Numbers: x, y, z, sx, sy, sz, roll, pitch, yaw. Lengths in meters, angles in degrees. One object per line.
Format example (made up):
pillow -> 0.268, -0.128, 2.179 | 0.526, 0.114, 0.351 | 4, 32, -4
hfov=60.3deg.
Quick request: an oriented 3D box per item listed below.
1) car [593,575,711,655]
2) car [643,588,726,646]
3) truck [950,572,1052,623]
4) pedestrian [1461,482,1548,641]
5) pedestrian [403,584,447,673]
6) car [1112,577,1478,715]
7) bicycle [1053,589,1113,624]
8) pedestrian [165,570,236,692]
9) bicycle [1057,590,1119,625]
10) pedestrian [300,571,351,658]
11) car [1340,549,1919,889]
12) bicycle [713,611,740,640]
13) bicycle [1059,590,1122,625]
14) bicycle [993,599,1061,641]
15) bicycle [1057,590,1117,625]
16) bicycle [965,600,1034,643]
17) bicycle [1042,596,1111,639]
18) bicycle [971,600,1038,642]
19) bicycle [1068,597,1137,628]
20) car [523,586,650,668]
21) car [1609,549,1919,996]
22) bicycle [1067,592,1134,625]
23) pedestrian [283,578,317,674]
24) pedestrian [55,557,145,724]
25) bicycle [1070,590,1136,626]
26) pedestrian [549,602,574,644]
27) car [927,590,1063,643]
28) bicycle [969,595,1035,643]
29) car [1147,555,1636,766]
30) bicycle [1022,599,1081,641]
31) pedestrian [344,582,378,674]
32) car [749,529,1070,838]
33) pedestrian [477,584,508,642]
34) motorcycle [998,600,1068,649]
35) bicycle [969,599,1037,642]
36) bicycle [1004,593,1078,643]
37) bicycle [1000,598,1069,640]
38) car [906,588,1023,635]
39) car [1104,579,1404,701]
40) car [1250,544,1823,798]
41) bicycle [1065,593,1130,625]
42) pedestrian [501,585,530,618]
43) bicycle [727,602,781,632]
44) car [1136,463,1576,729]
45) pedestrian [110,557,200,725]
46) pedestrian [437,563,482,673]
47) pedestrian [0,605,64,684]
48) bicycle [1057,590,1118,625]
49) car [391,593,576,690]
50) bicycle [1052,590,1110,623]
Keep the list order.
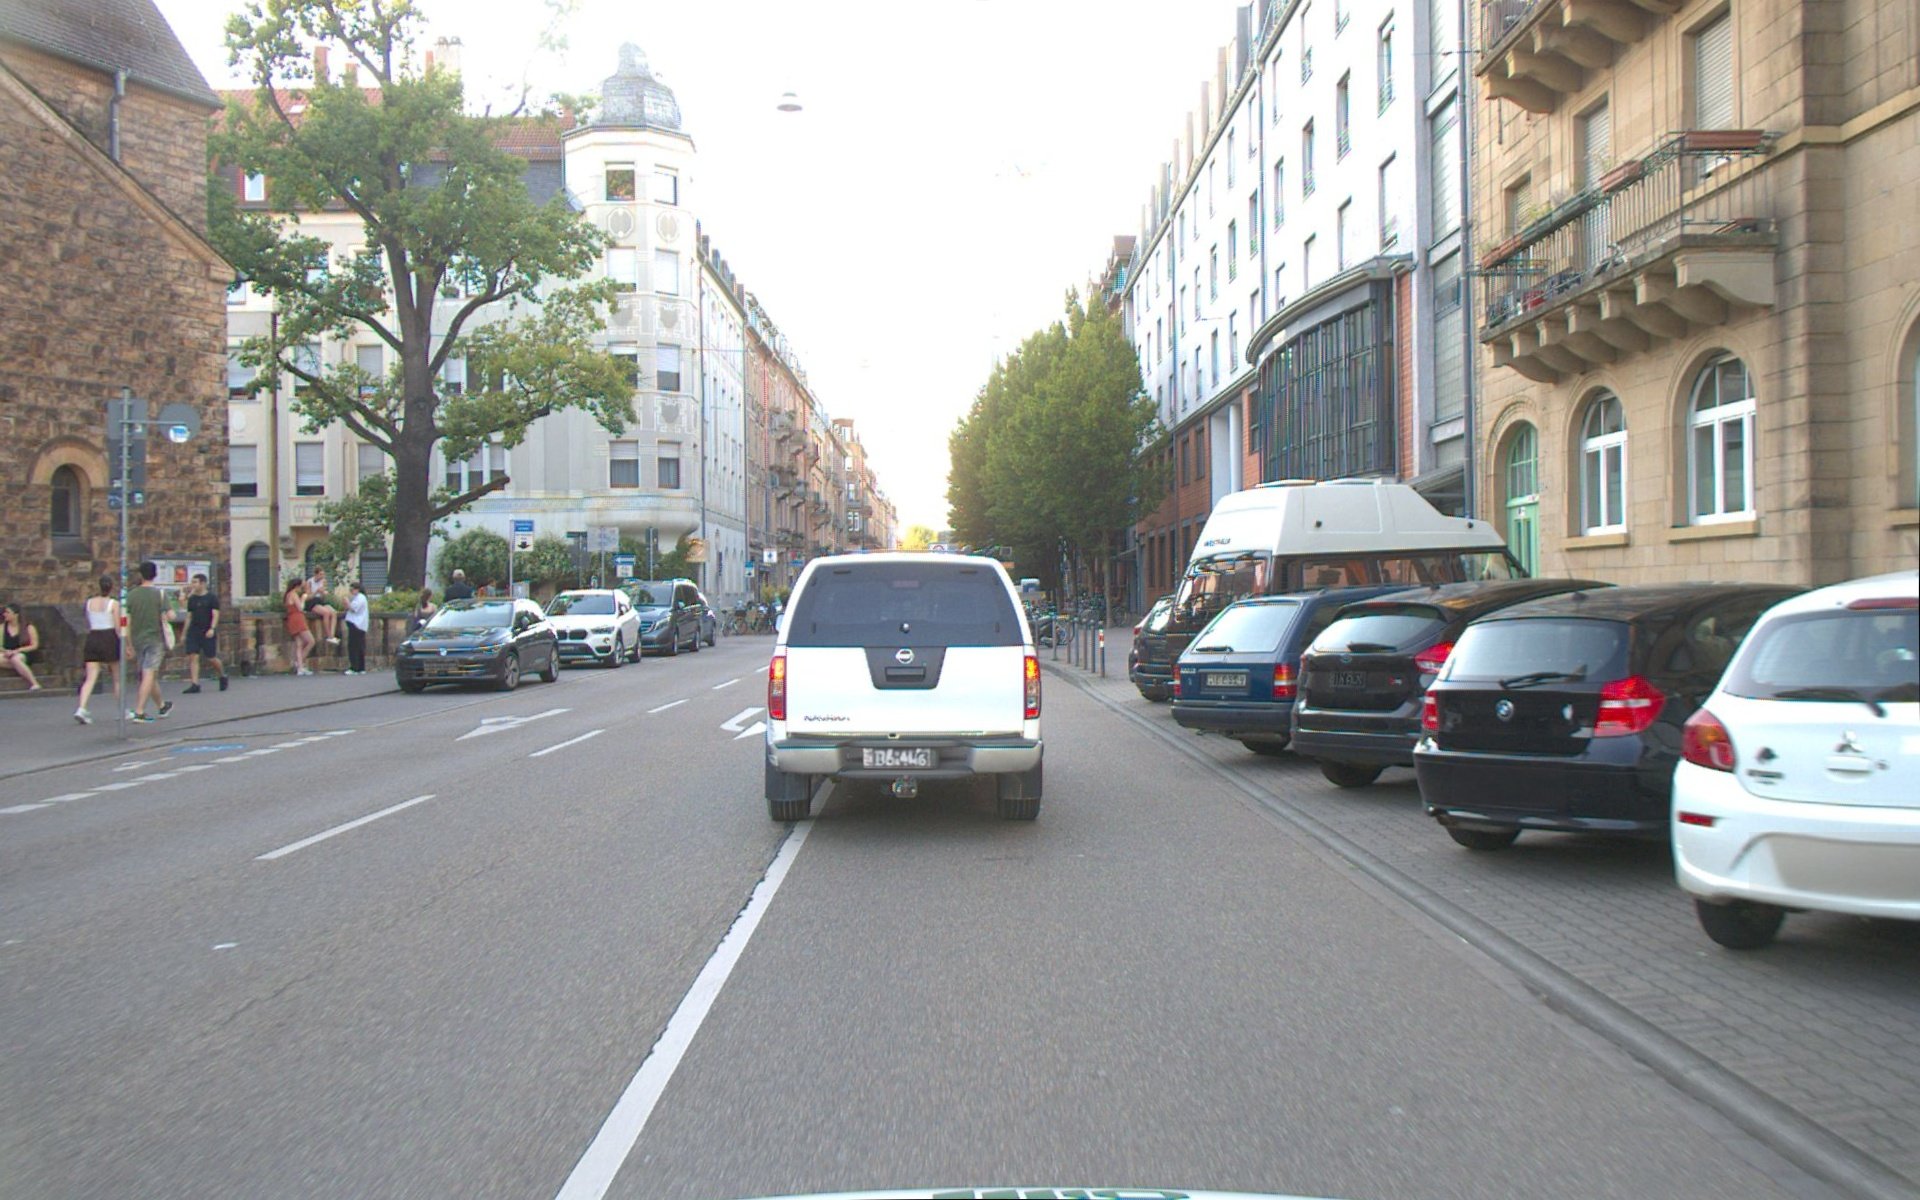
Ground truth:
car -> -7.853, 0.349, 42.647 | 1.952, 1.899, 5.290 | -1, 0, 1
car -> -7.910, 0.453, 47.721 | 1.606, 1.583, 4.005 | -1, 0, 2
truck -> 2.508, -0.126, 101.175 | 6.190, 3.029, 2.264 | 0, -3, 1
pedestrian -> 7.419, -0.525, 22.573 | 0.595, 2.046, 0.858 | 9, 1, 1
pedestrian -> -9.595, 0.508, 29.684 | 0.570, 1.579, 0.839 | 0, 0, -4
car -> 4.207, 0.513, 20.653 | 4.294, 1.529, 1.895 | -1, 0, -29
bicycle -> 5.235, 0.273, 70.458 | 2.482, 1.403, 0.599 | -1, 0, 2
pedestrian -> -11.155, 0.443, 24.321 | 0.699, 1.755, 0.692 | -1, 0, 0
bicycle -> 5.226, 0.301, 67.530 | 2.482, 1.403, 0.599 | -1, 0, 2
pedestrian -> -11.616, 0.265, 30.297 | 0.637, 1.572, 0.585 | 0, 0, 23
car -> 4.284, 0.527, 9.540 | 3.989, 1.456, 1.845 | -4, 0, -35
bicycle -> -8.832, 0.941, 62.491 | 0.414, 1.030, 1.720 | 0, 1, 13
bicycle -> 5.256, 0.301, 66.816 | 2.482, 1.403, 0.599 | -1, 0, 2
bicycle -> 1.928, 0.569, 47.513 | 1.873, 1.084, 0.524 | -3, 0, -2
bicycle -> 5.296, 0.316, 68.979 | 2.482, 1.403, 0.599 | -1, 0, 2
bicycle -> 1.074, 0.579, 44.898 | 1.820, 1.056, 0.471 | -3, 0, -2
bicycle -> 3.258, 0.483, 46.241 | 1.820, 1.084, 0.524 | -3, 0, -2
bicycle -> 1.245, 0.594, 46.715 | 1.820, 1.084, 0.445 | -3, 0, -2
bicycle -> 5.272, 0.463, 61.306 | 2.482, 0.976, 0.680 | -4, 0, 2
car -> -7.931, 0.531, 35.524 | 1.833, 1.619, 4.467 | -1, 0, -2
car -> 4.735, 0.513, 7.080 | 4.014, 1.524, 1.732 | -3, 0, -36
bicycle -> 5.248, 0.329, 61.927 | 2.482, 1.187, 0.562 | -1, 0, 2
pedestrian -> -11.782, 0.455, 29.512 | 0.411, 1.704, 0.540 | 0, 0, -40
pedestrian -> -10.054, 0.459, 19.368 | 0.561, 1.889, 0.988 | -1, 0, -4
bicycle -> 5.198, 0.291, 60.357 | 2.298, 1.118, 0.680 | -4, 0, 2
pedestrian -> -14.440, 0.821, 59.900 | 0.687, 1.495, 0.783 | -1, 0, -2
car -> 1.103, 0.509, 51.645 | 3.945, 1.533, 1.753 | -1, 0, -30
bicycle -> 1.110, 0.502, 43.876 | 1.673, 1.196, 0.471 | -3, 0, -2
car -> 4.018, 0.469, 15.201 | 4.341, 1.512, 1.824 | -4, 1, -31
bicycle -> 2.448, 0.529, 44.437 | 1.509, 1.056, 0.471 | -3, 0, -2
pedestrian -> -10.843, 0.499, 29.954 | 0.411, 1.650, 0.540 | 0, 0, -40
car -> -0.338, 0.518, 12.197 | 1.894, 1.826, 4.620 | 1, 0, -1
pedestrian -> -14.401, 0.404, 50.979 | 0.692, 1.751, 0.836 | -1, 0, -2
motorcycle -> 1.852, 0.612, 42.005 | 1.614, 1.121, 0.646 | -3, 0, -9
bicycle -> 1.193, 0.568, 46.005 | 1.820, 1.084, 0.445 | -3, 0, -2
bicycle -> 2.107, 0.475, 43.237 | 1.821, 1.166, 0.659 | -4, 0, -1
bicycle -> 2.053, 0.528, 45.522 | 1.820, 1.056, 0.402 | -3, 0, -2
car -> 0.180, 0.390, 59.467 | 3.947, 1.564, 1.618 | -1, 1, -32
car -> 4.119, 0.505, 23.032 | 4.017, 1.518, 1.705 | -1, 0, -32
car -> 4.377, 0.465, 12.478 | 4.063, 1.573, 1.778 | -2, -2, -29
bicycle -> 5.305, 0.354, 63.811 | 2.482, 1.187, 0.562 | -1, 0, 2
pedestrian -> -13.698, 0.042, 50.991 | 0.692, 0.997, 0.836 | -1, 0, -2
bicycle -> -7.916, 0.647, 63.551 | 2.068, 1.114, 0.501 | 0, 1, 24
car -> 4.384, -0.053, 18.134 | 4.660, 2.591, 1.899 | -1, -1, -30
pedestrian -> -9.427, 0.466, 19.388 | 0.634, 1.912, 0.890 | -1, 0, -4
pedestrian -> -9.014, 0.323, 29.824 | 0.570, 1.938, 0.802 | -1, 0, -4
pedestrian -> -12.949, 0.615, 22.996 | 0.505, 1.074, 0.700 | -1, 0, 16
bicycle -> 5.257, 0.295, 68.248 | 2.482, 1.403, 0.599 | -1, 0, 2
car -> -7.813, 0.635, 27.516 | 1.746, 1.460, 4.316 | -1, 0, 1
bicycle -> 5.311, 0.275, 72.464 | 2.482, 1.403, 0.599 | -1, 0, 2
